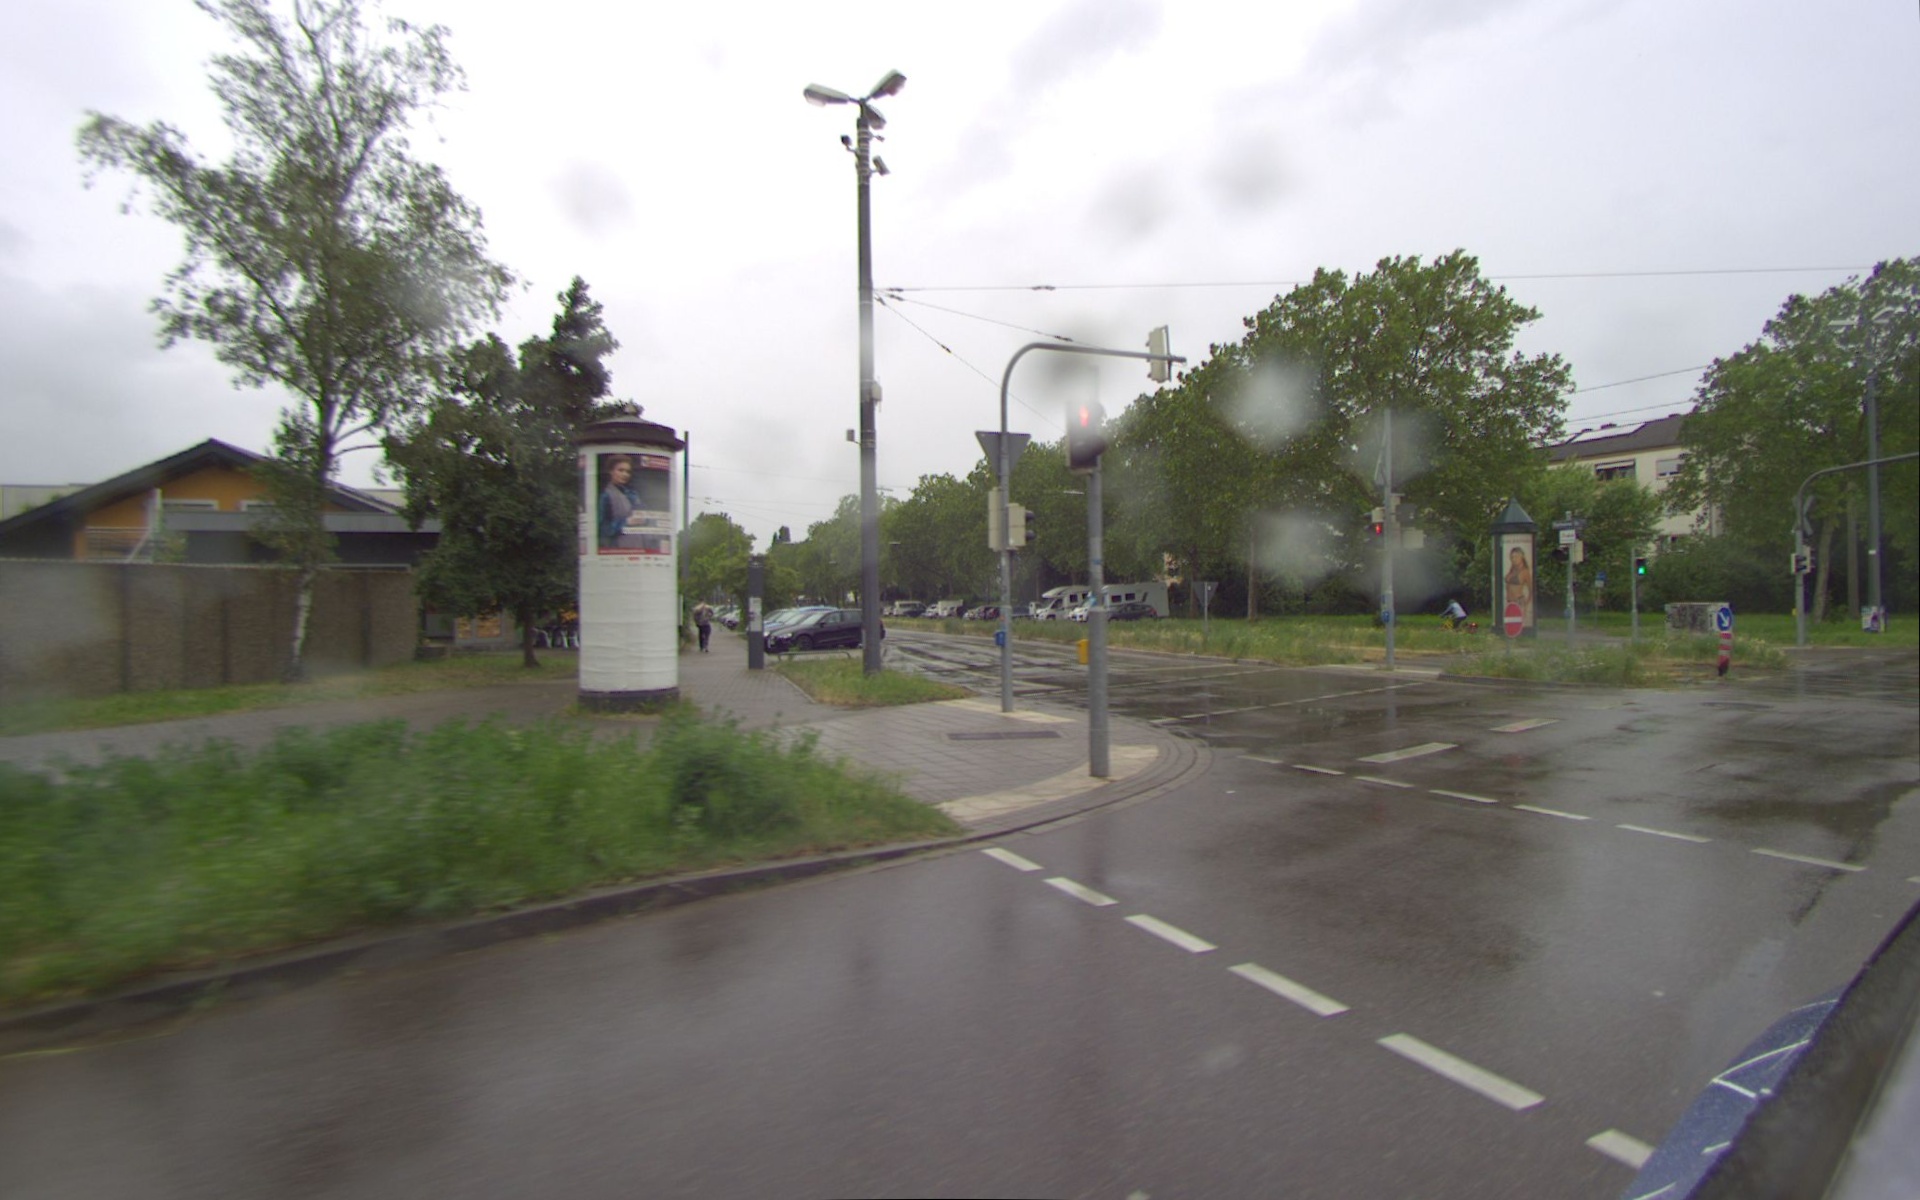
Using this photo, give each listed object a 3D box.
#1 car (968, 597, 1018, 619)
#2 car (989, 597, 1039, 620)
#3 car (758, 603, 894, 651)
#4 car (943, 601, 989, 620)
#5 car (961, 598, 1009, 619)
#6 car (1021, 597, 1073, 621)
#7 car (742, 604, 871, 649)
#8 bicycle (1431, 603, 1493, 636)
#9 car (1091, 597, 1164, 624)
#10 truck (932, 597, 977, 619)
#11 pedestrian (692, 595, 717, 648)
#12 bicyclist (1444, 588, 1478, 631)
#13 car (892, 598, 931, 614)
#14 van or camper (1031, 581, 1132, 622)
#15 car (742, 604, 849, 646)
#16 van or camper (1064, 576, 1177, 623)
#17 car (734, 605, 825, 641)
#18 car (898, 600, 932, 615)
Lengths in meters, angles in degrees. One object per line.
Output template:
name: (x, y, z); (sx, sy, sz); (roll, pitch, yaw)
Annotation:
car: (3.202, 0.798, 98.872); (4.642, 2.039, 2.432); (0, -1, -7)
car: (4.853, 0.775, 91.614); (4.225, 1.970, 1.969); (0, -1, -7)
car: (-4.738, 0.931, 35.995); (4.404, 1.436, 1.860); (-3, 0, -31)
car: (0.650, 1.105, 109.262); (4.641, 2.039, 2.433); (0, -1, -8)
car: (2.559, 0.892, 104.800); (4.642, 2.039, 2.432); (0, -1, -7)
car: (7.505, 0.788, 87.864); (4.102, 2.039, 2.188); (0, -1, -7)
car: (-5.764, 0.971, 38.202); (4.423, 1.436, 1.860); (-2, 0, -31)
bicycle: (17.950, 0.703, 36.243); (0.679, 1.131, 1.885); (1, -2, -35)
car: (11.238, 0.724, 68.091); (4.366, 1.739, 2.003); (0, -1, -11)
truck: (-0.613, 0.918, 112.380); (4.639, 2.368, 2.434); (0, -1, -12)
pedestrian: (-8.898, 0.740, 35.179); (0.711, 1.820, 0.888); (1, -1, -21)
bicyclist: (17.943, 0.343, 36.255); (0.680, 1.525, 0.844); (1, -2, -35)
car: (-6.220, 0.779, 129.524); (4.552, 2.039, 2.047); (0, -1, -17)
van or camper: (9.636, 0.164, 80.729); (7.296, 3.219, 3.267); (0, -1, -10)
car: (-6.750, 1.009, 41.579); (3.919, 1.602, 1.861); (-1, -1, -28)
van or camper: (11.375, -0.019, 71.851); (7.192, 3.219, 3.268); (0, -1, -14)
car: (-8.857, 1.102, 49.848); (1.923, 1.662, 4.057); (-1, -1, 44)
car: (-5.679, 0.962, 126.585); (3.916, 1.806, 1.885); (0, -1, -17)
